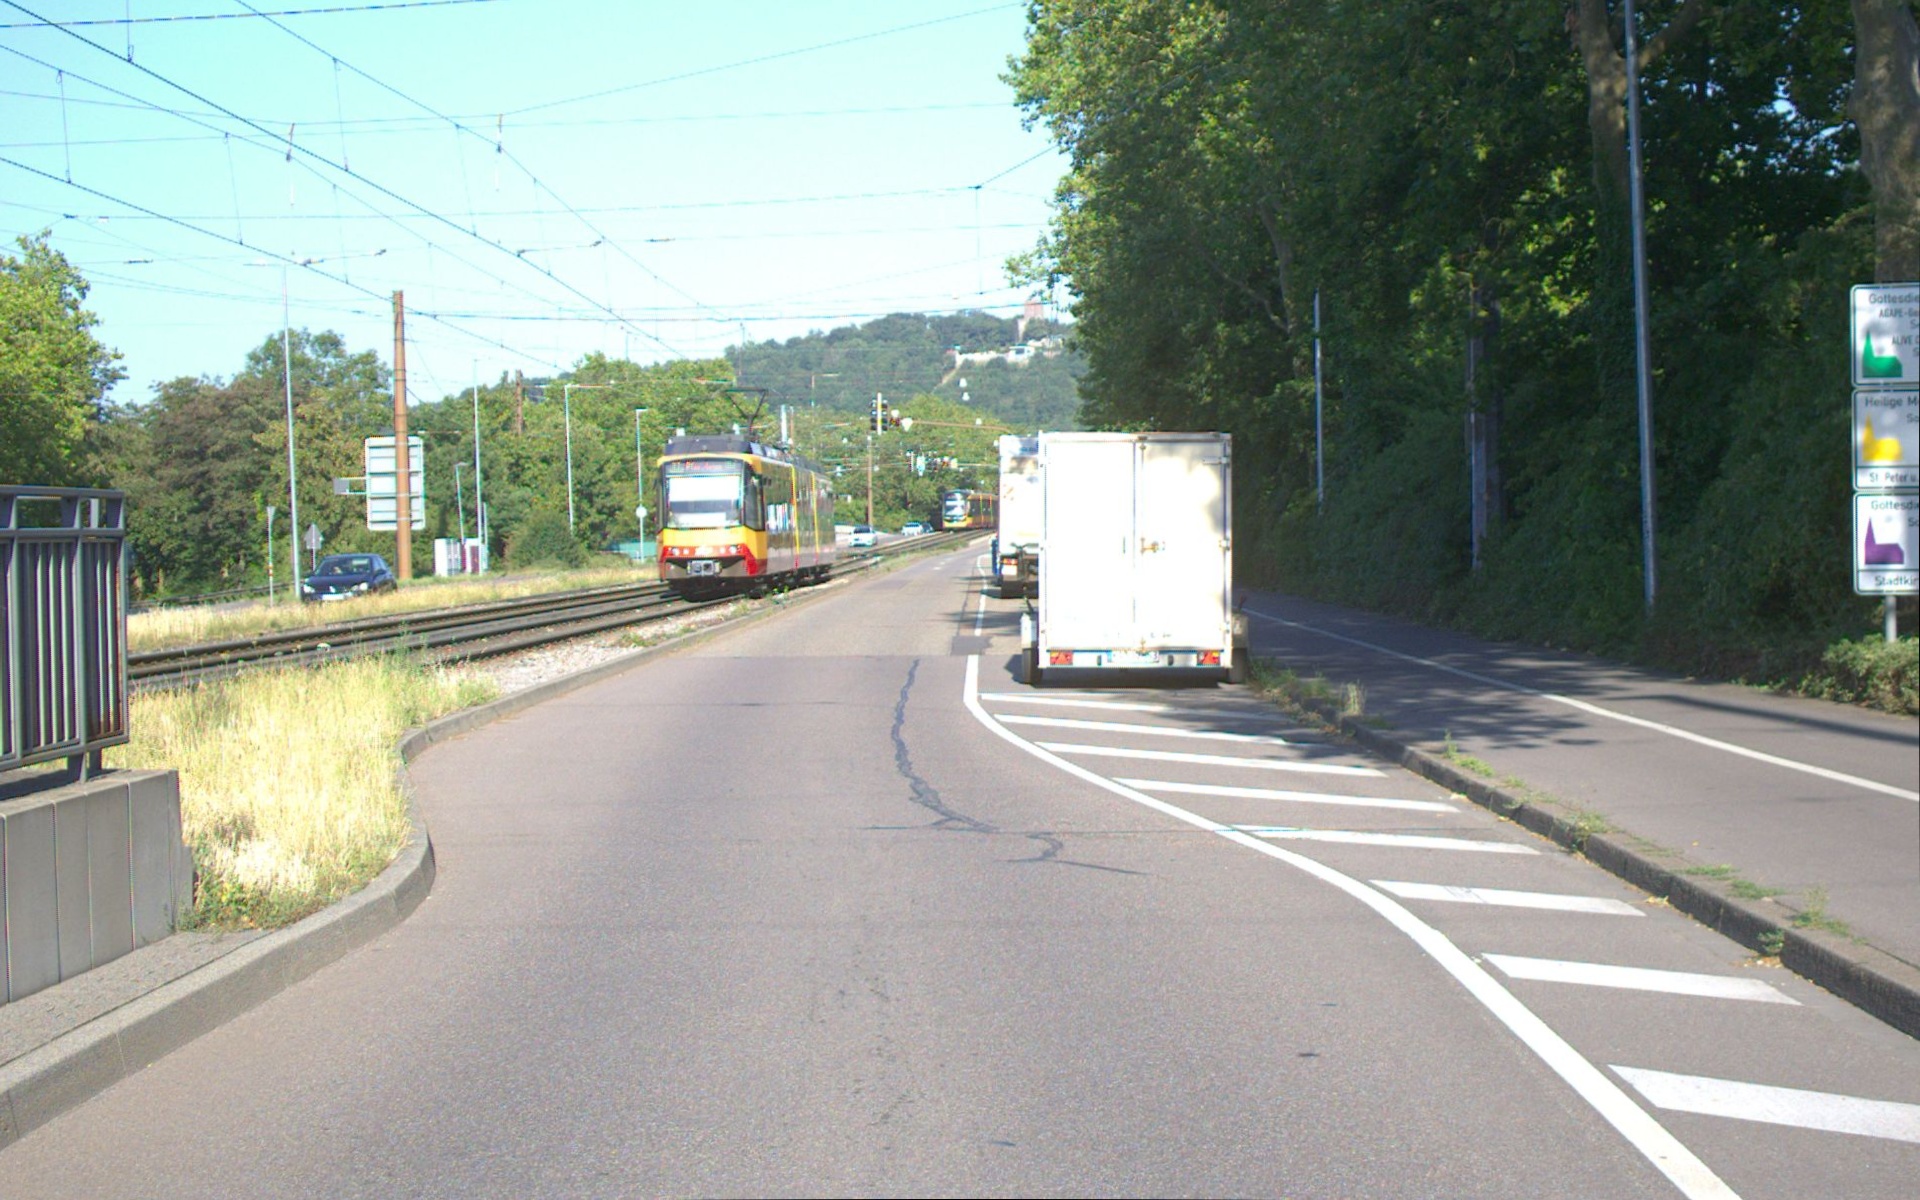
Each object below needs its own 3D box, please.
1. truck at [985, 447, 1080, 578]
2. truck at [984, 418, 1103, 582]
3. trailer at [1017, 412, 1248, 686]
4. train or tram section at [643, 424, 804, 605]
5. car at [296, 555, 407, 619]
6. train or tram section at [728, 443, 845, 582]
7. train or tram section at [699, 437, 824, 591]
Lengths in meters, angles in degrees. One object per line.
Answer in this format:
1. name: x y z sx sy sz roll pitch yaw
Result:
1. truck: 2.127 -2.623 104.083 2.717 3.770 9.762 0 1 0
2. truck: 1.973 -2.425 84.869 2.742 3.770 10.090 0 1 0
3. trailer: 1.898 -0.563 36.968 2.251 2.685 5.946 -1 1 4
4. train or tram section: -5.759 -2.111 86.139 2.721 4.077 13.615 -2 1 1
5. car: -14.845 -0.337 84.080 1.773 1.420 4.489 -2 1 2
6. train or tram section: -5.411 -2.751 109.244 2.719 4.075 12.813 -2 1 1
7. train or tram section: -5.569 -2.433 97.907 2.694 4.075 9.911 -2 1 1
